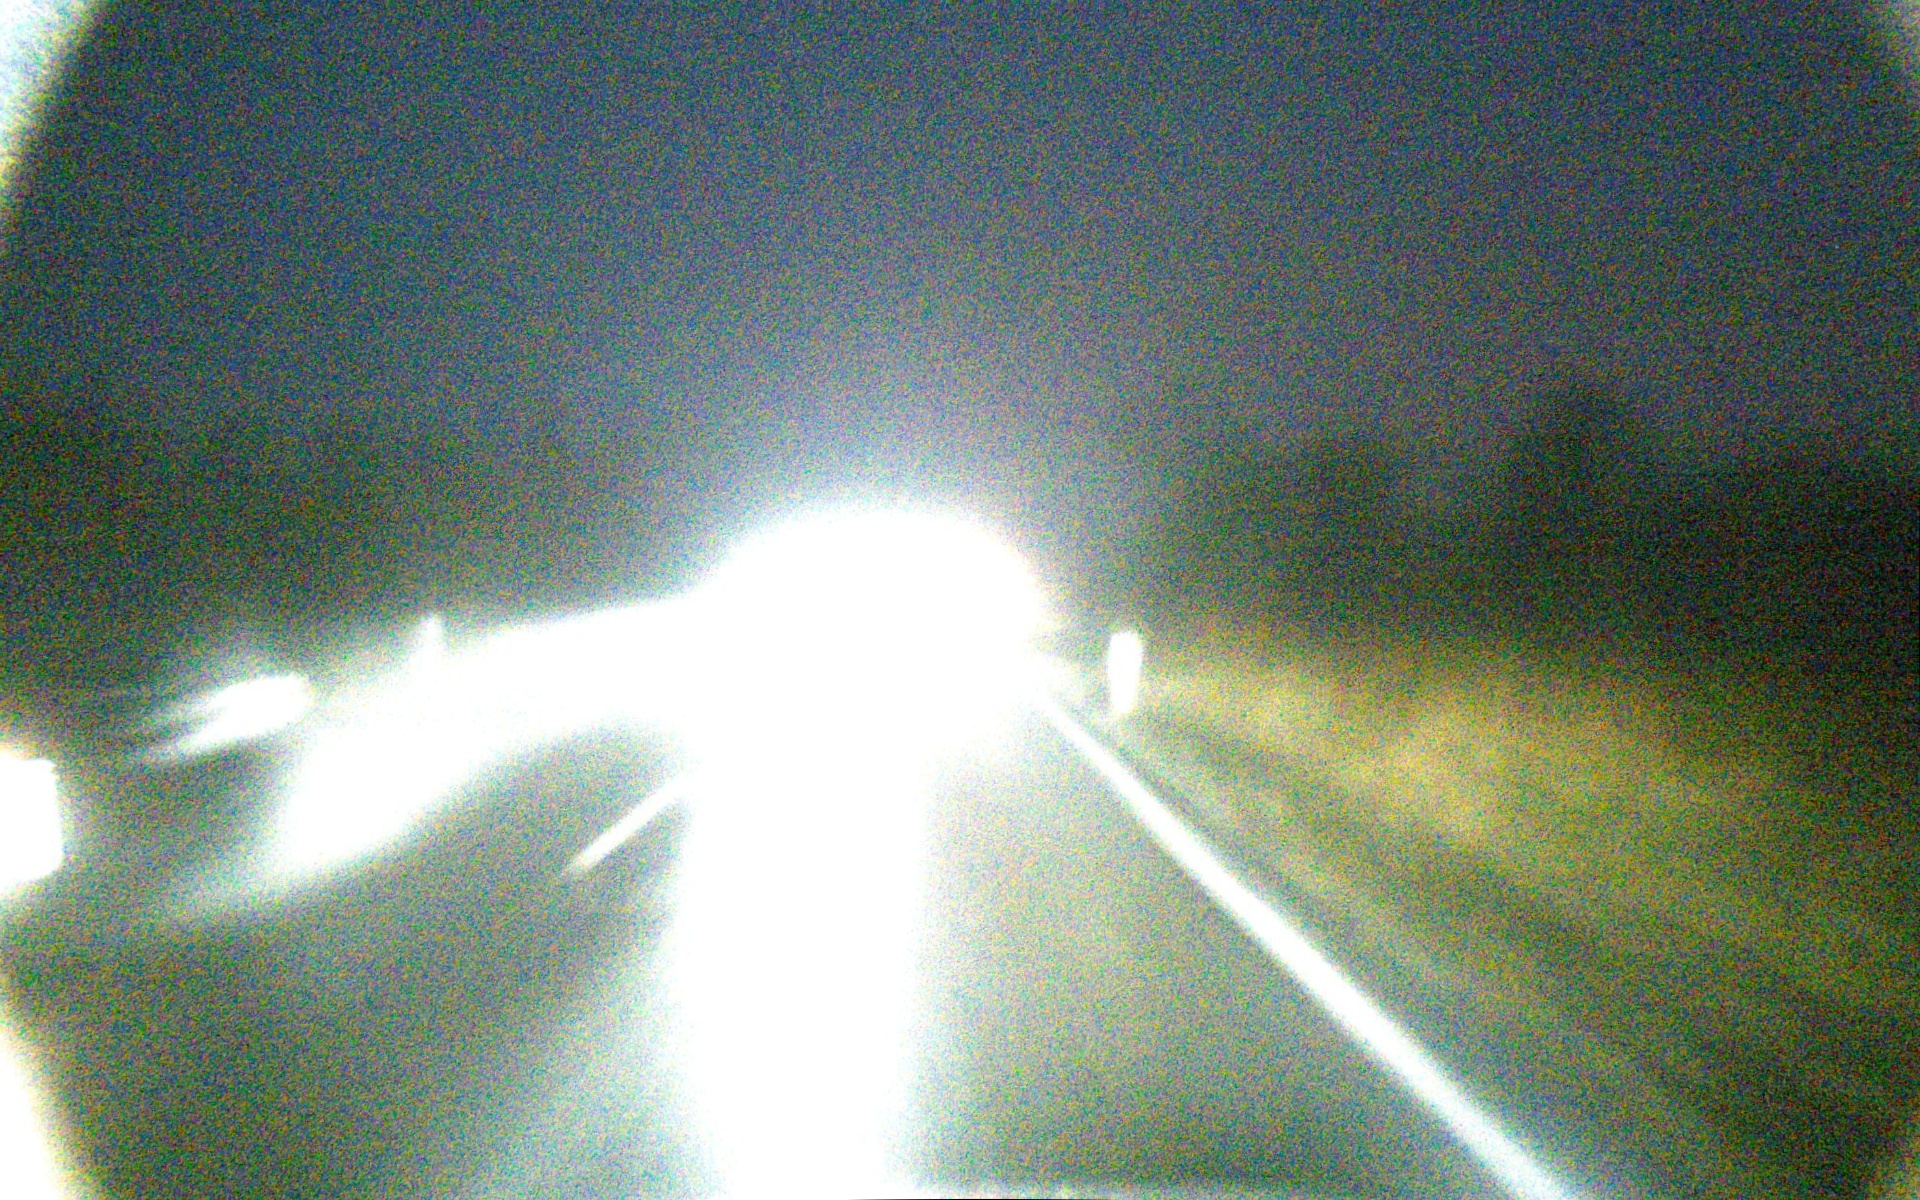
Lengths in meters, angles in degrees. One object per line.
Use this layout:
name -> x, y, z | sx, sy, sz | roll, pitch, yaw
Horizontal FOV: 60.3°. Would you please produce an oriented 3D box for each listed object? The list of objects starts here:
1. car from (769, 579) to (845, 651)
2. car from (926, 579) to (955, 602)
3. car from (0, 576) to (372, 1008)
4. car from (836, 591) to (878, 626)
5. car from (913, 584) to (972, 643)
car -> -4.347, 0.425, 47.454 | 1.766, 1.962, 4.000 | 1, -1, 0
car -> -1.464, -0.712, 123.938 | 1.952, 1.652, 4.001 | 3, 1, 2
car -> -4.165, 0.650, 7.219 | 1.782, 1.467, 3.999 | 1, 0, -1
car -> -4.344, 0.378, 70.365 | 1.563, 1.426, 3.470 | 1, 0, 0
car -> -0.592, 0.422, 54.561 | 1.805, 1.770, 4.000 | 2, 1, -1
